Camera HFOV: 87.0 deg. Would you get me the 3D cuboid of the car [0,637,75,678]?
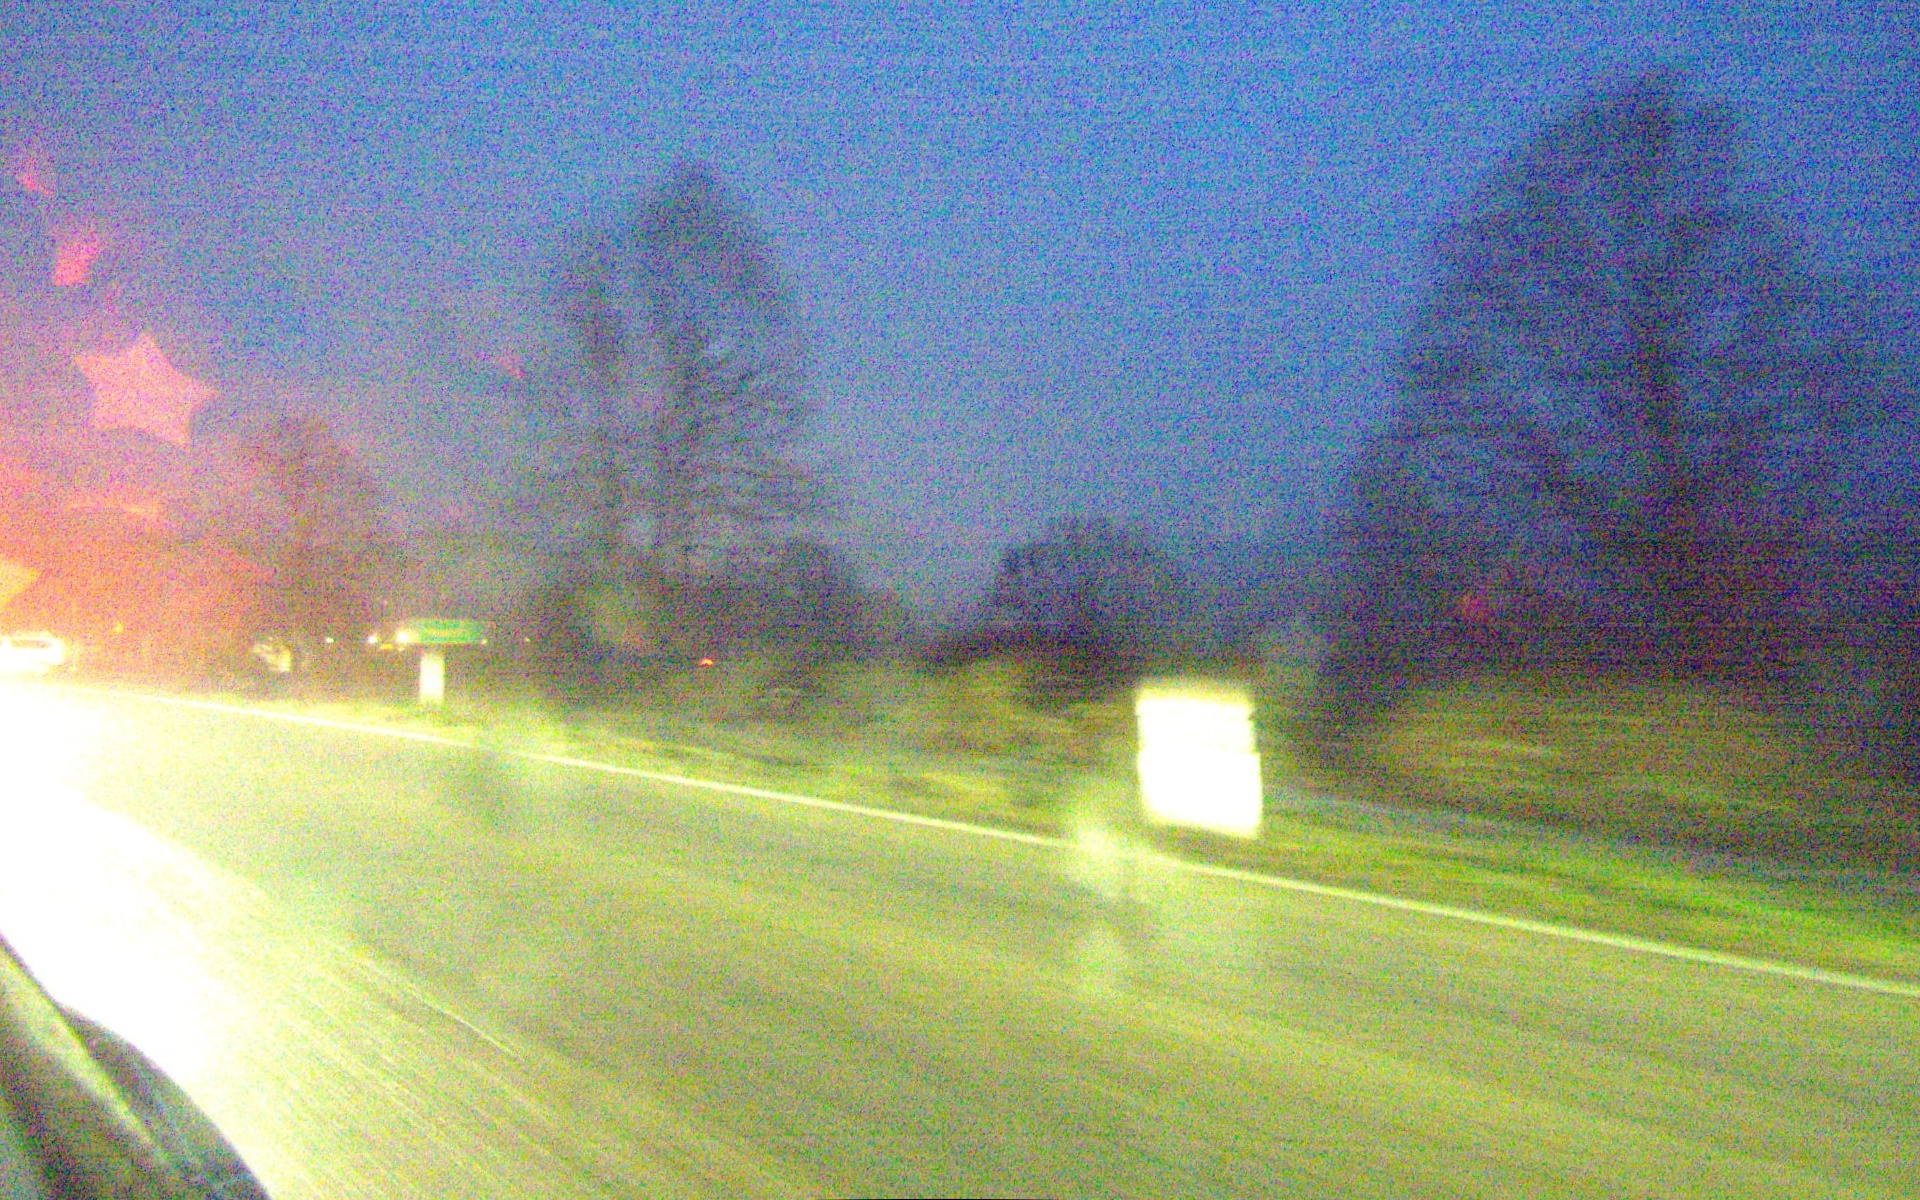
[{"bbox_3d":[-44.473,2.633,46.828,1.931,1.852,4.888,-2,-6,37],"label":"car"}]
